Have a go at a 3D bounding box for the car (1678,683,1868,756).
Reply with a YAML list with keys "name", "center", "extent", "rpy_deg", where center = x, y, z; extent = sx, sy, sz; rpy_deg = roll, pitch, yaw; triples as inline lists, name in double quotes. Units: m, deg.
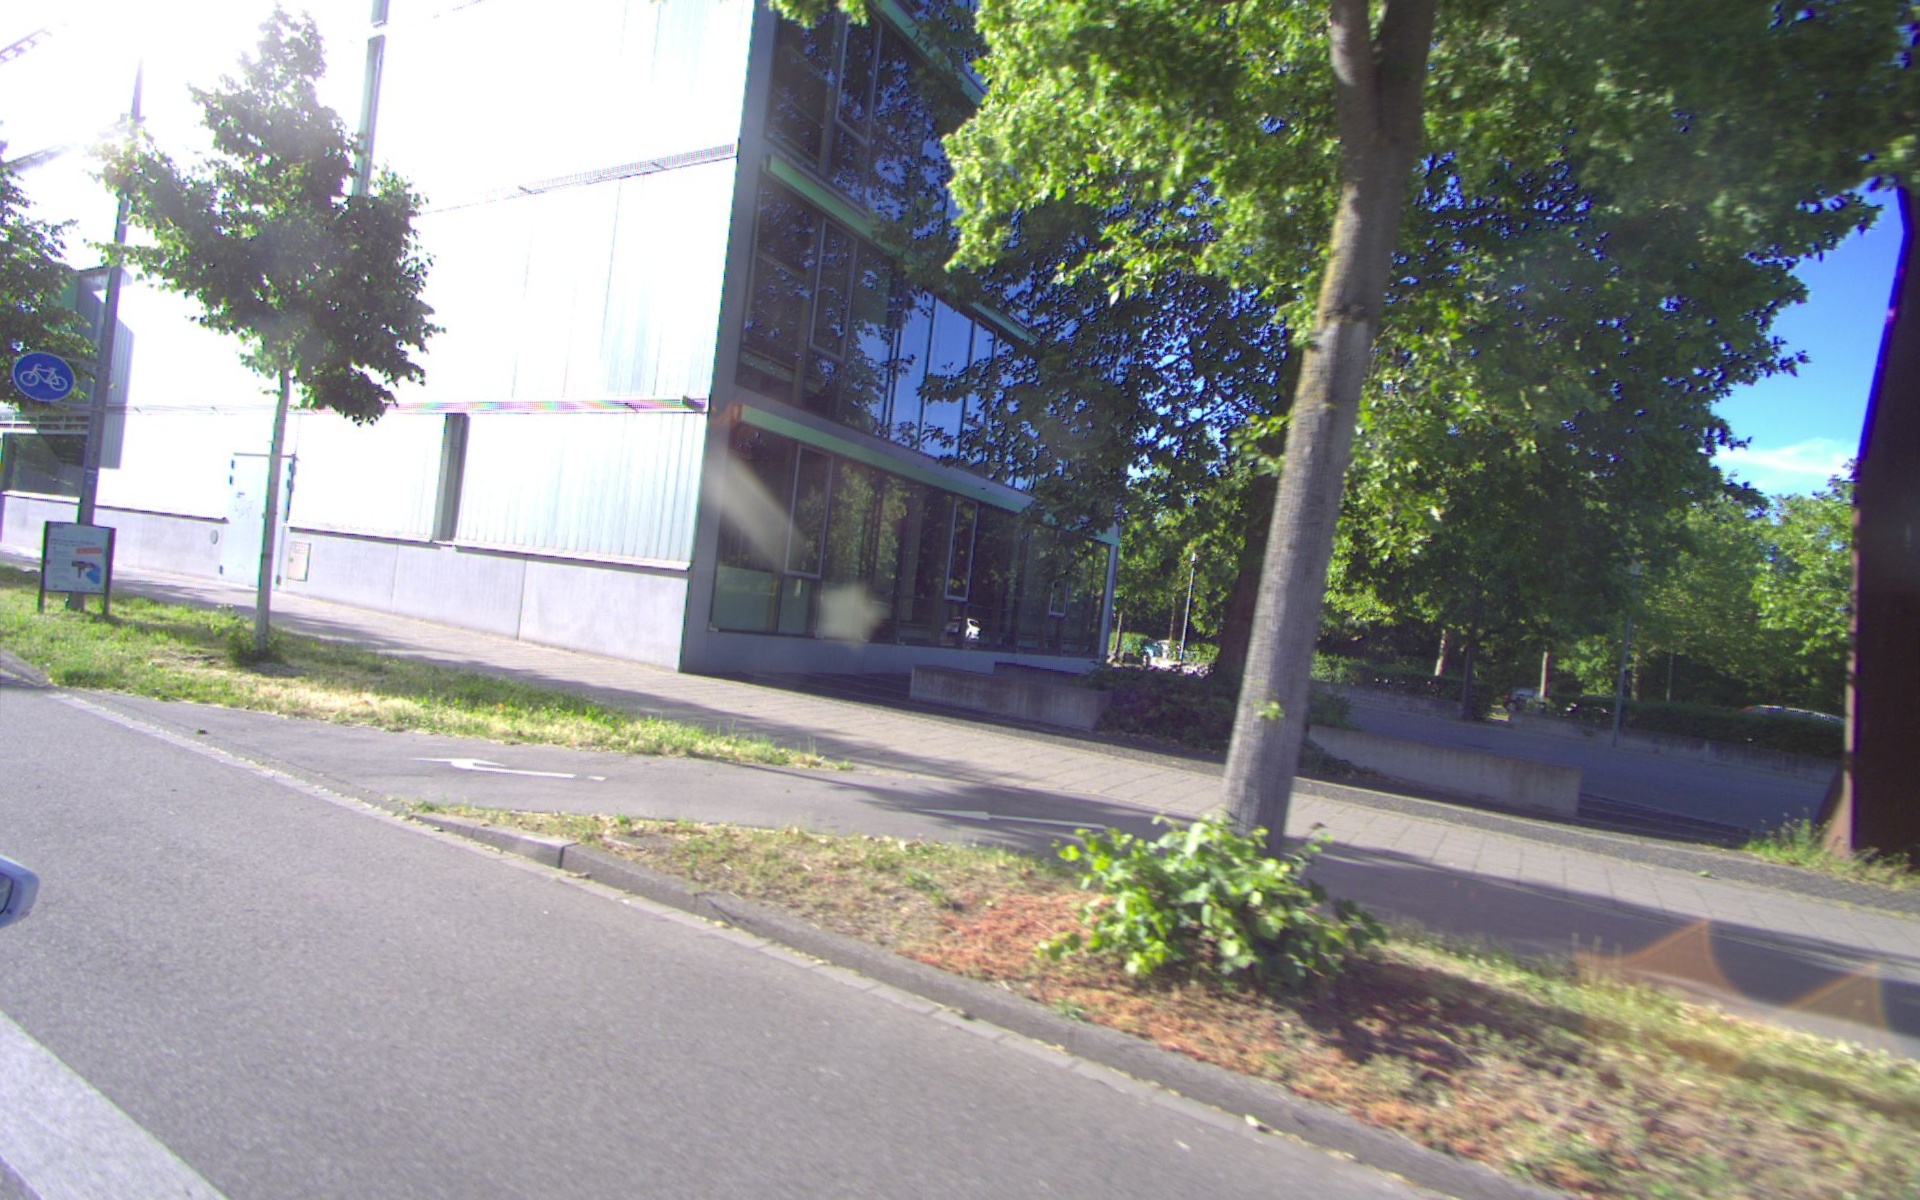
- name: "car"
  center: [24.682, 3.596, 30.698]
  extent: [1.979, 1.482, 3.970]
  rpy_deg: [9, -1, -29]
